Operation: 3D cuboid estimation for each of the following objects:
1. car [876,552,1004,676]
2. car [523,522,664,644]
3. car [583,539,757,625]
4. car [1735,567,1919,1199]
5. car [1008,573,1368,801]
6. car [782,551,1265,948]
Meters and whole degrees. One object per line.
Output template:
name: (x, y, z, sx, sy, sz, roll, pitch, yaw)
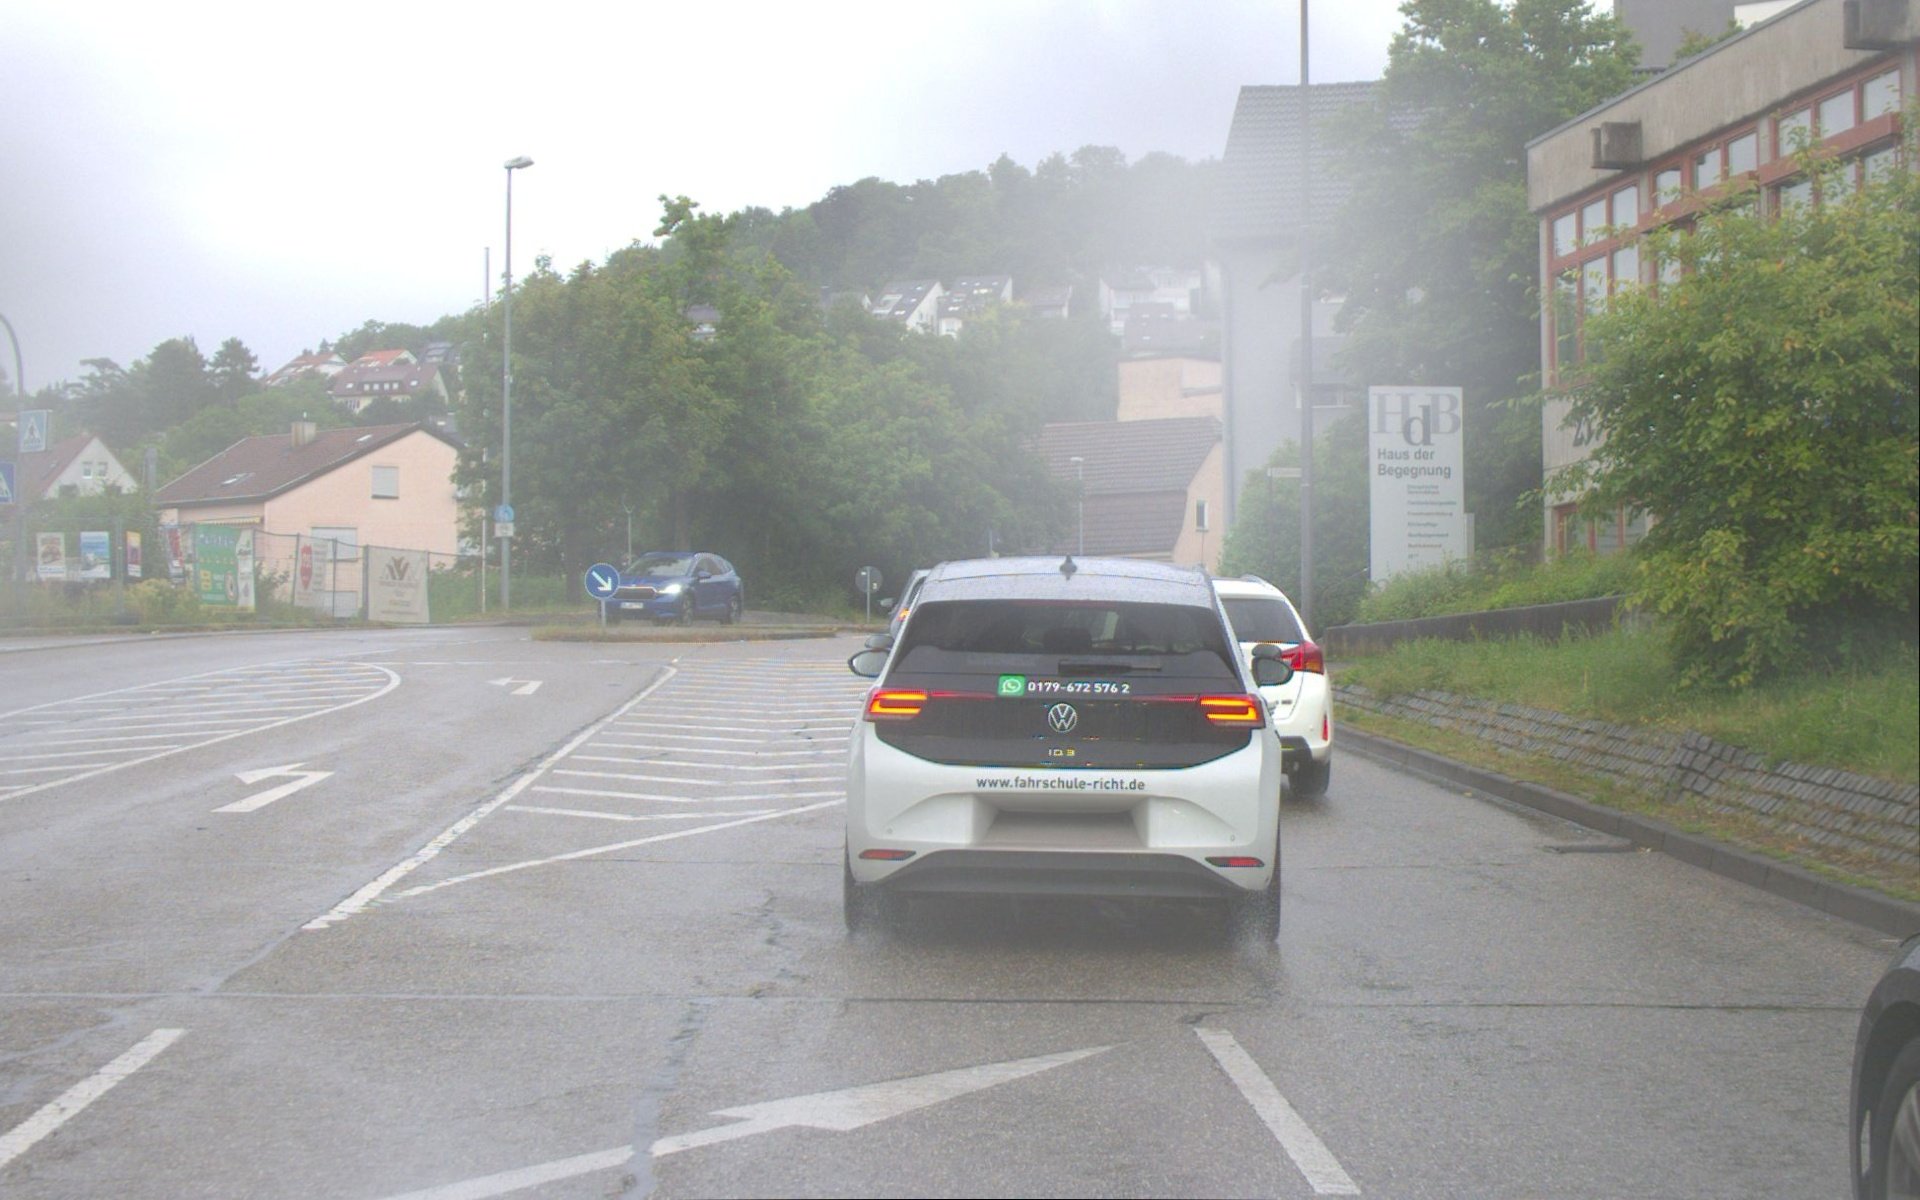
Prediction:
car: (-0.271, 0.149, 44.246, 1.567, 1.525, 4.000, 0, 1, -1)
car: (-6.306, -0.264, 59.510, 1.993, 2.007, 4.000, 1, 0, 0)
car: (-6.067, -0.352, 72.443, 1.995, 1.687, 4.701, 1, -1, 17)
car: (2.664, 0.733, 4.604, 1.954, 1.502, 4.609, 2, 0, -3)
car: (1.456, 0.552, 23.563, 1.848, 1.405, 4.302, 0, 0, -5)
car: (0.305, 0.577, 15.189, 1.829, 1.495, 4.168, 0, 0, 2)
